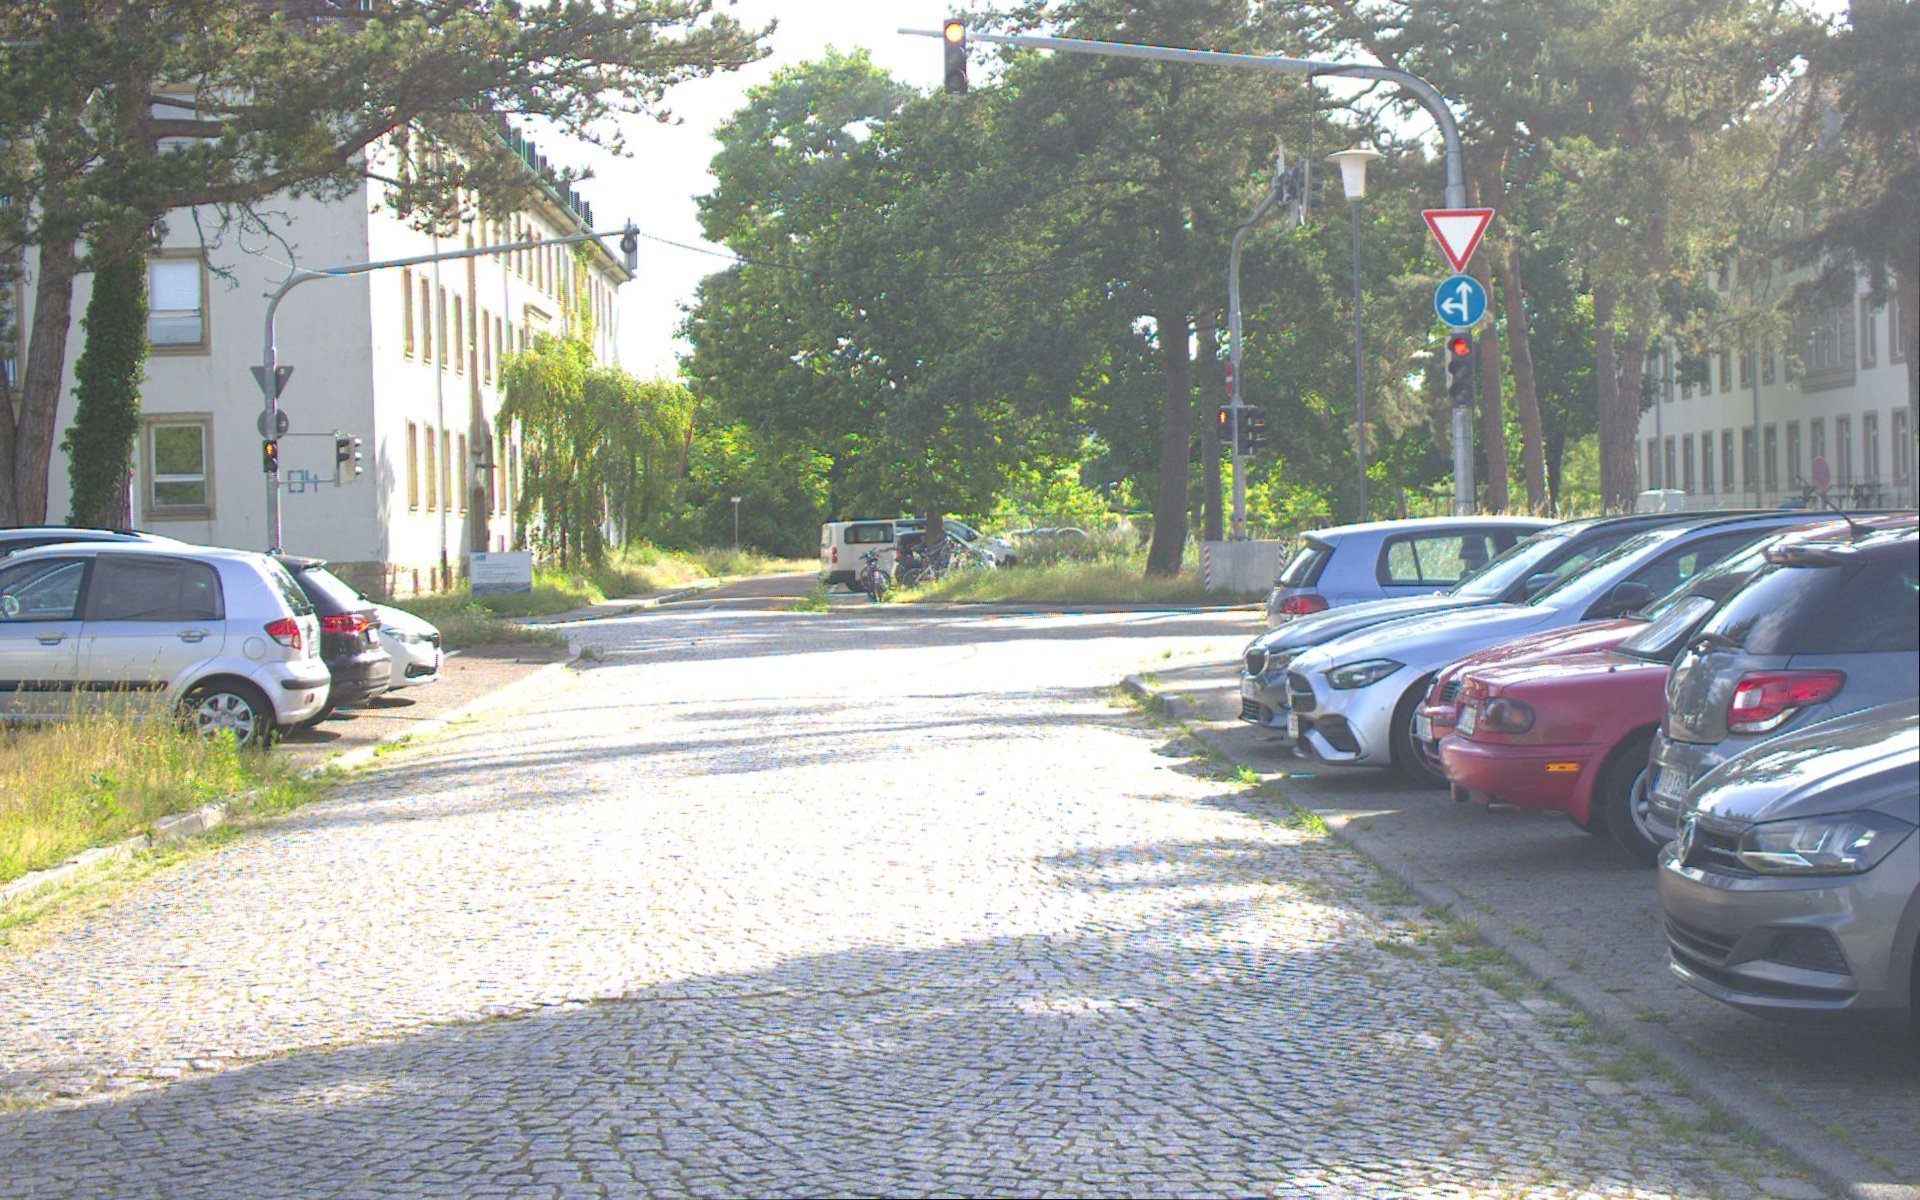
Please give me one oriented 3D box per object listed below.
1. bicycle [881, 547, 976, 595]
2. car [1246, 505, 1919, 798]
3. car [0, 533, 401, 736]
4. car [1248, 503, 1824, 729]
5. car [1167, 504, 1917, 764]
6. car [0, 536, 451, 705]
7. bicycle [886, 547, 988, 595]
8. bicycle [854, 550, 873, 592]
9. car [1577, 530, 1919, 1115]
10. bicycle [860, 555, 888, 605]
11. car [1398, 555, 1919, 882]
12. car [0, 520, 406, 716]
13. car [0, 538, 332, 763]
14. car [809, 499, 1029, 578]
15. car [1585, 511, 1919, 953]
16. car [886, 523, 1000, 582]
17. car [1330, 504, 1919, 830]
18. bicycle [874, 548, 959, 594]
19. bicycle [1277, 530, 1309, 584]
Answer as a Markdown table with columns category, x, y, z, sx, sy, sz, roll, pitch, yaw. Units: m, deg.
| category | x | y | z | sx | sy | sz | roll | pitch | yaw |
| --- | --- | --- | --- | --- | --- | --- | --- | --- | --- |
| bicycle | -0.697 | -0.640 | 75.777 | 2.004 | 1.006 | 0.632 | 1 | 0 | -8 |
| car | 3.966 | 0.249 | 19.745 | 4.432 | 1.410 | 1.781 | -3 | 2 | 0 |
| car | -6.464 | 0.241 | 26.816 | 3.986 | 1.475 | 1.803 | 1 | 2 | -4 |
| car | 4.149 | 0.088 | 25.161 | 3.882 | 1.410 | 1.637 | -3 | 2 | 0 |
| car | 3.718 | 0.192 | 22.460 | 4.559 | 1.410 | 1.637 | -3 | 2 | 0 |
| car | -7.004 | 0.172 | 31.993 | 4.333 | 1.463 | 1.831 | 1 | 2 | -4 |
| bicycle | -0.496 | -0.620 | 74.066 | 2.108 | 1.006 | 0.621 | 1 | 0 | -8 |
| bicycle | -2.338 | -0.711 | 83.702 | 0.417 | 1.006 | 1.483 | 1 | 1 | 0 |
| car | 3.811 | 0.491 | 9.792 | 3.707 | 1.444 | 1.856 | -3 | 2 | 0 |
| bicycle | -1.763 | -0.419 | 70.452 | 0.467 | 1.006 | 1.586 | 1 | 1 | -5 |
| car | 3.937 | 0.455 | 15.264 | 3.707 | 1.219 | 1.746 | -3 | 2 | 0 |
| car | -6.956 | 0.131 | 29.771 | 4.079 | 1.588 | 1.886 | 1 | 2 | -4 |
| car | -6.404 | 0.321 | 24.146 | 3.745 | 1.482 | 1.646 | 1 | 1 | -4 |
| car | -1.090 | -1.645 | 92.166 | 5.520 | 2.007 | 2.001 | 1 | 1 | -19 |
| car | 4.361 | 0.370 | 12.665 | 3.707 | 1.444 | 1.816 | -3 | 2 | -1 |
| car | -0.460 | -1.217 | 88.537 | 2.781 | 1.462 | 1.671 | 1 | 0 | -5 |
| car | 4.089 | 0.281 | 17.663 | 4.127 | 1.444 | 1.637 | -3 | 2 | 0 |
| bicycle | -0.985 | -0.661 | 77.530 | 1.837 | 1.006 | 0.636 | 1 | 0 | -8 |
| bicycle | 6.004 | -0.771 | 62.029 | 0.300 | 0.957 | 1.586 | 1 | 1 | -5 |
